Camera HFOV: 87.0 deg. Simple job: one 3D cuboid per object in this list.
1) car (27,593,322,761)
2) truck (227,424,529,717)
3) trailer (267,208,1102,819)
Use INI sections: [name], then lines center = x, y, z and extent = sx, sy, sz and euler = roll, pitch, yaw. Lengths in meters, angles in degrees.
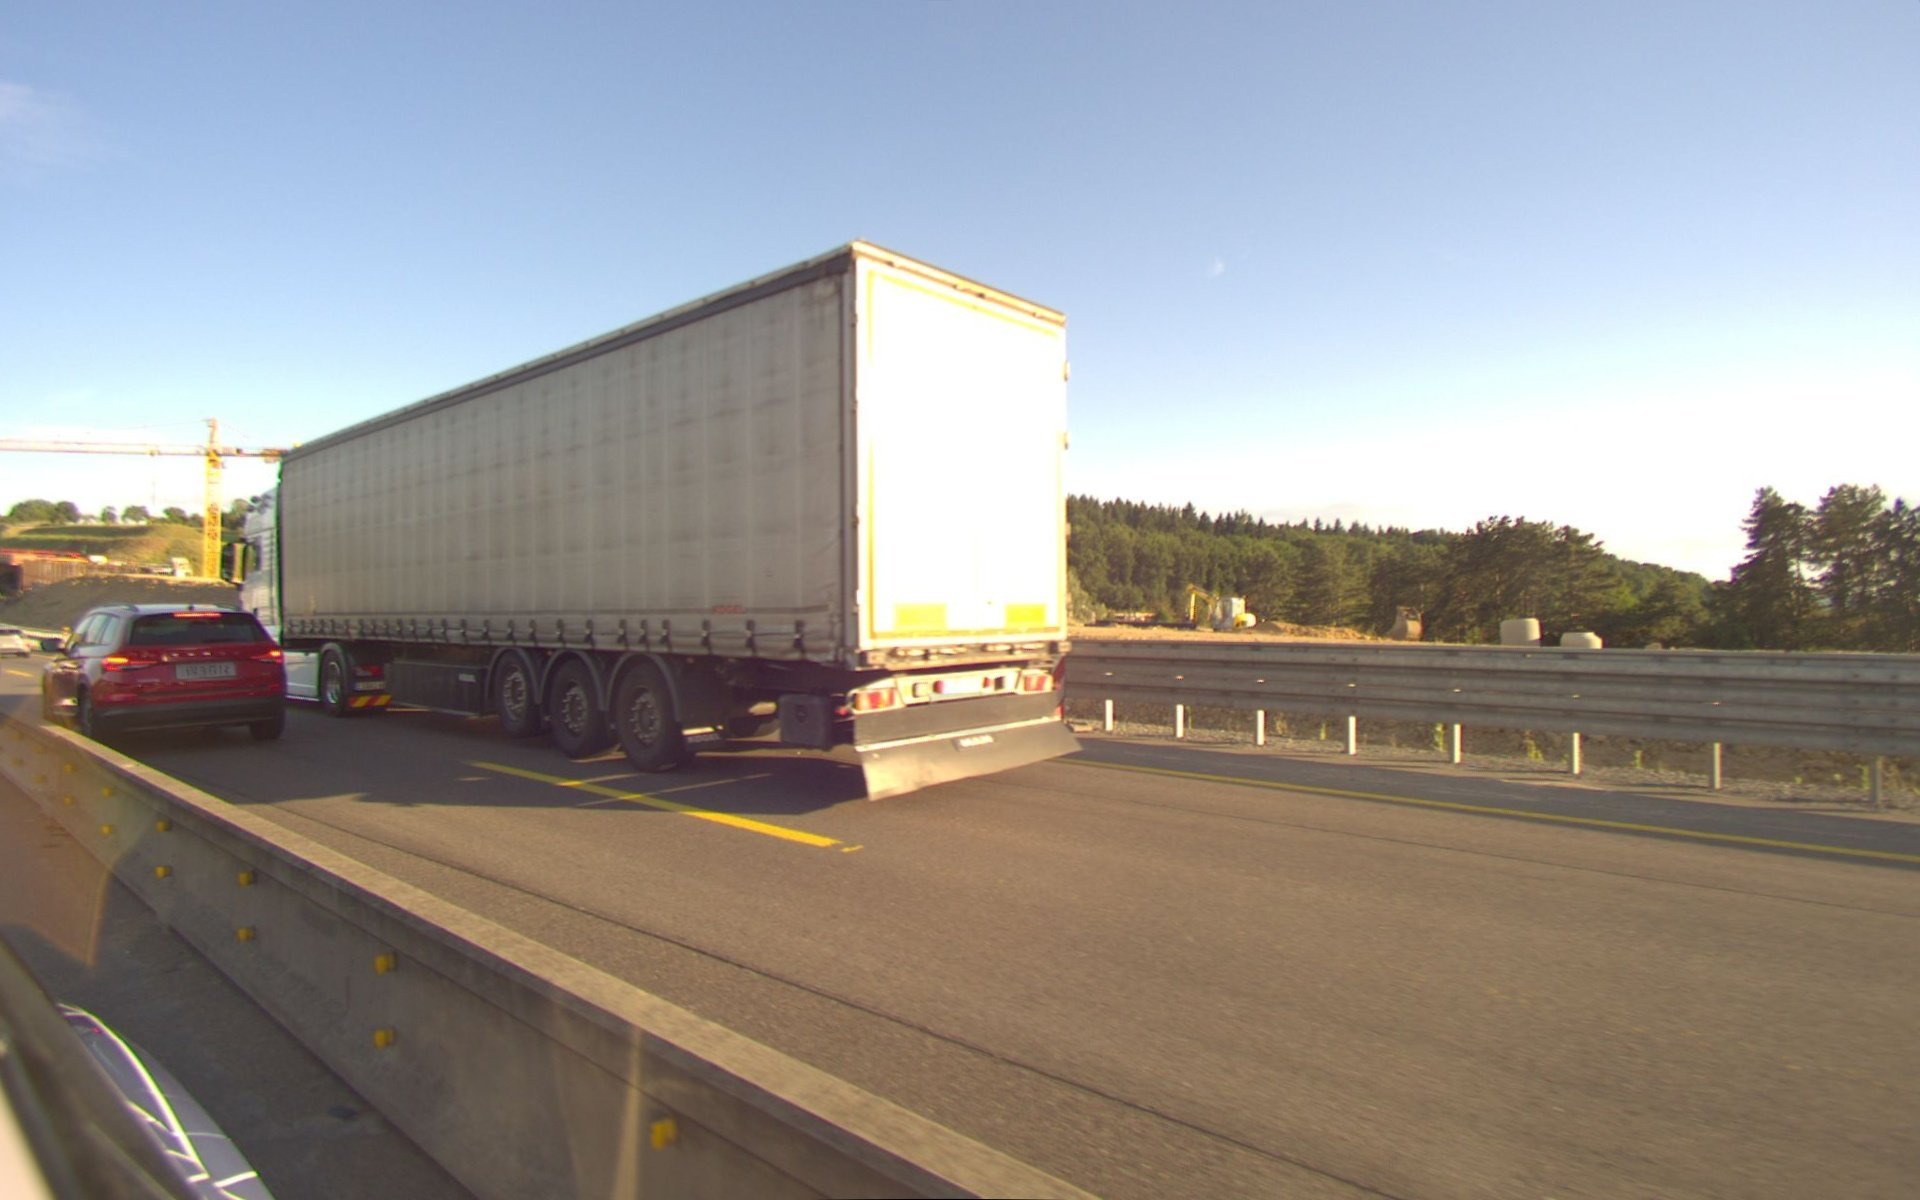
[car]
center = -9.521, 0.787, 12.124
extent = 4.603, 1.631, 1.972
euler = -1, -1, 41
[truck]
center = -9.903, -0.365, 17.000
extent = 5.671, 4.079, 2.784
euler = -1, -1, 42
[trailer]
center = -4.896, -0.480, 12.490
extent = 14.017, 4.081, 2.784
euler = -1, -1, 42
